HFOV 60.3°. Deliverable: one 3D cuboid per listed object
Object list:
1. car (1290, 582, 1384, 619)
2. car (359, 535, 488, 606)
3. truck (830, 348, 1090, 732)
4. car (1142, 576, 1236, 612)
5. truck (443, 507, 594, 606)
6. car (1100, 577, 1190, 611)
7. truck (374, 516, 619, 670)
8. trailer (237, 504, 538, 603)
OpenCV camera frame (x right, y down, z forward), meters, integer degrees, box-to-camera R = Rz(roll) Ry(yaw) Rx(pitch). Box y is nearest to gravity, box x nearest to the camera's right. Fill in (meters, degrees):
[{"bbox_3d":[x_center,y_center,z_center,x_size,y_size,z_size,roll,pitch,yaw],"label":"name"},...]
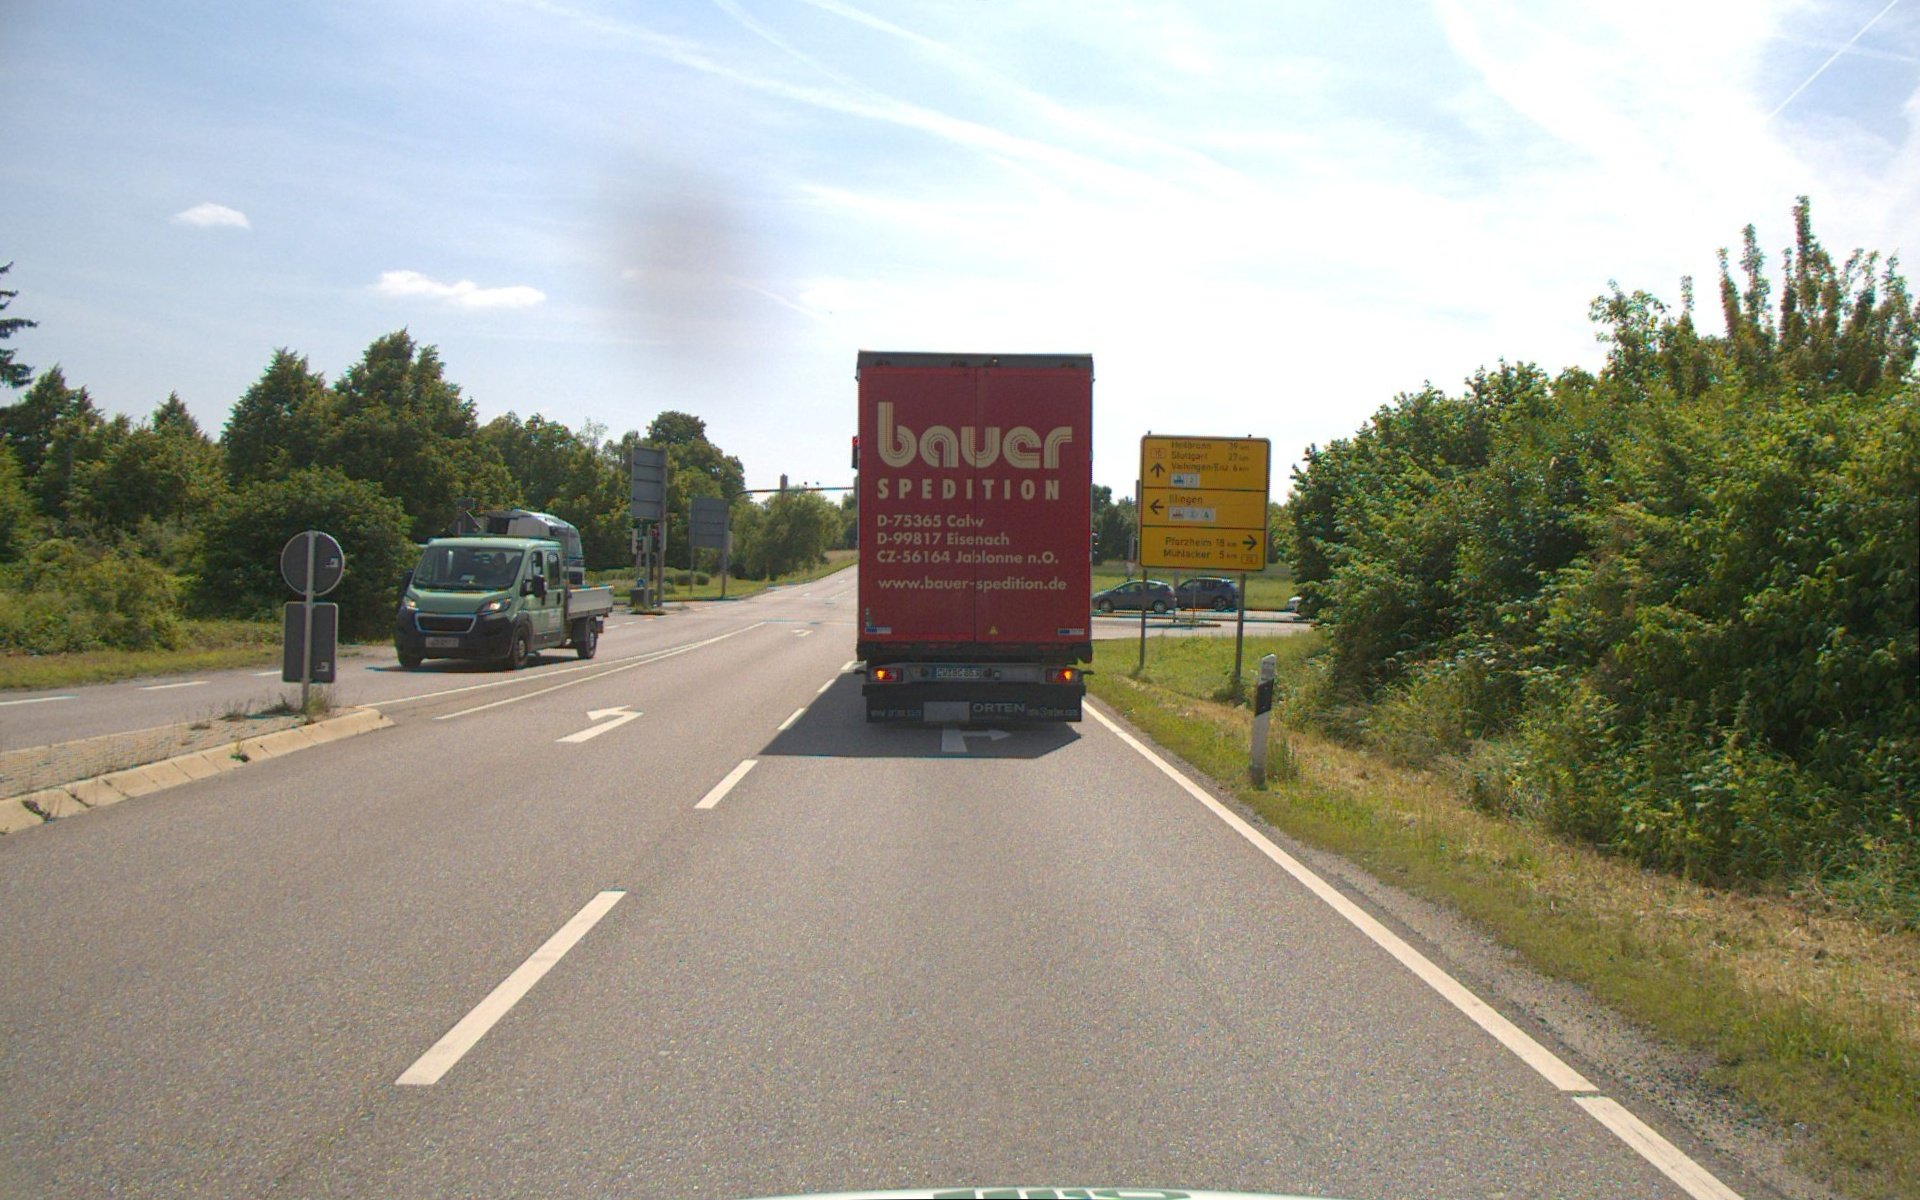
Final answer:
[{"bbox_3d":[16.875,0.027,73.998,4.012,1.574,1.875,1,0,13],"label":"car"},{"bbox_3d":[-21.663,-1.201,66.646,5.874,2.700,2.114,2,0,40],"label":"car"},{"bbox_3d":[-0.222,-0.754,25.682,2.679,3.993,16.621,1,1,-2],"label":"truck"},{"bbox_3d":[11.139,-0.285,80.554,4.199,1.685,1.694,1,0,34],"label":"car"},{"bbox_3d":[-19.241,-1.899,72.214,5.702,4.131,2.800,1,1,15],"label":"truck"},{"bbox_3d":[8.502,-0.260,75.851,3.902,1.454,2.002,1,0,12],"label":"car"},{"bbox_3d":[-8.103,-0.143,29.741,2.195,2.416,6.353,1,0,4],"label":"truck"},{"bbox_3d":[-25.640,-2.127,73.965,13.394,4.131,2.800,1,1,15],"label":"trailer"}]
